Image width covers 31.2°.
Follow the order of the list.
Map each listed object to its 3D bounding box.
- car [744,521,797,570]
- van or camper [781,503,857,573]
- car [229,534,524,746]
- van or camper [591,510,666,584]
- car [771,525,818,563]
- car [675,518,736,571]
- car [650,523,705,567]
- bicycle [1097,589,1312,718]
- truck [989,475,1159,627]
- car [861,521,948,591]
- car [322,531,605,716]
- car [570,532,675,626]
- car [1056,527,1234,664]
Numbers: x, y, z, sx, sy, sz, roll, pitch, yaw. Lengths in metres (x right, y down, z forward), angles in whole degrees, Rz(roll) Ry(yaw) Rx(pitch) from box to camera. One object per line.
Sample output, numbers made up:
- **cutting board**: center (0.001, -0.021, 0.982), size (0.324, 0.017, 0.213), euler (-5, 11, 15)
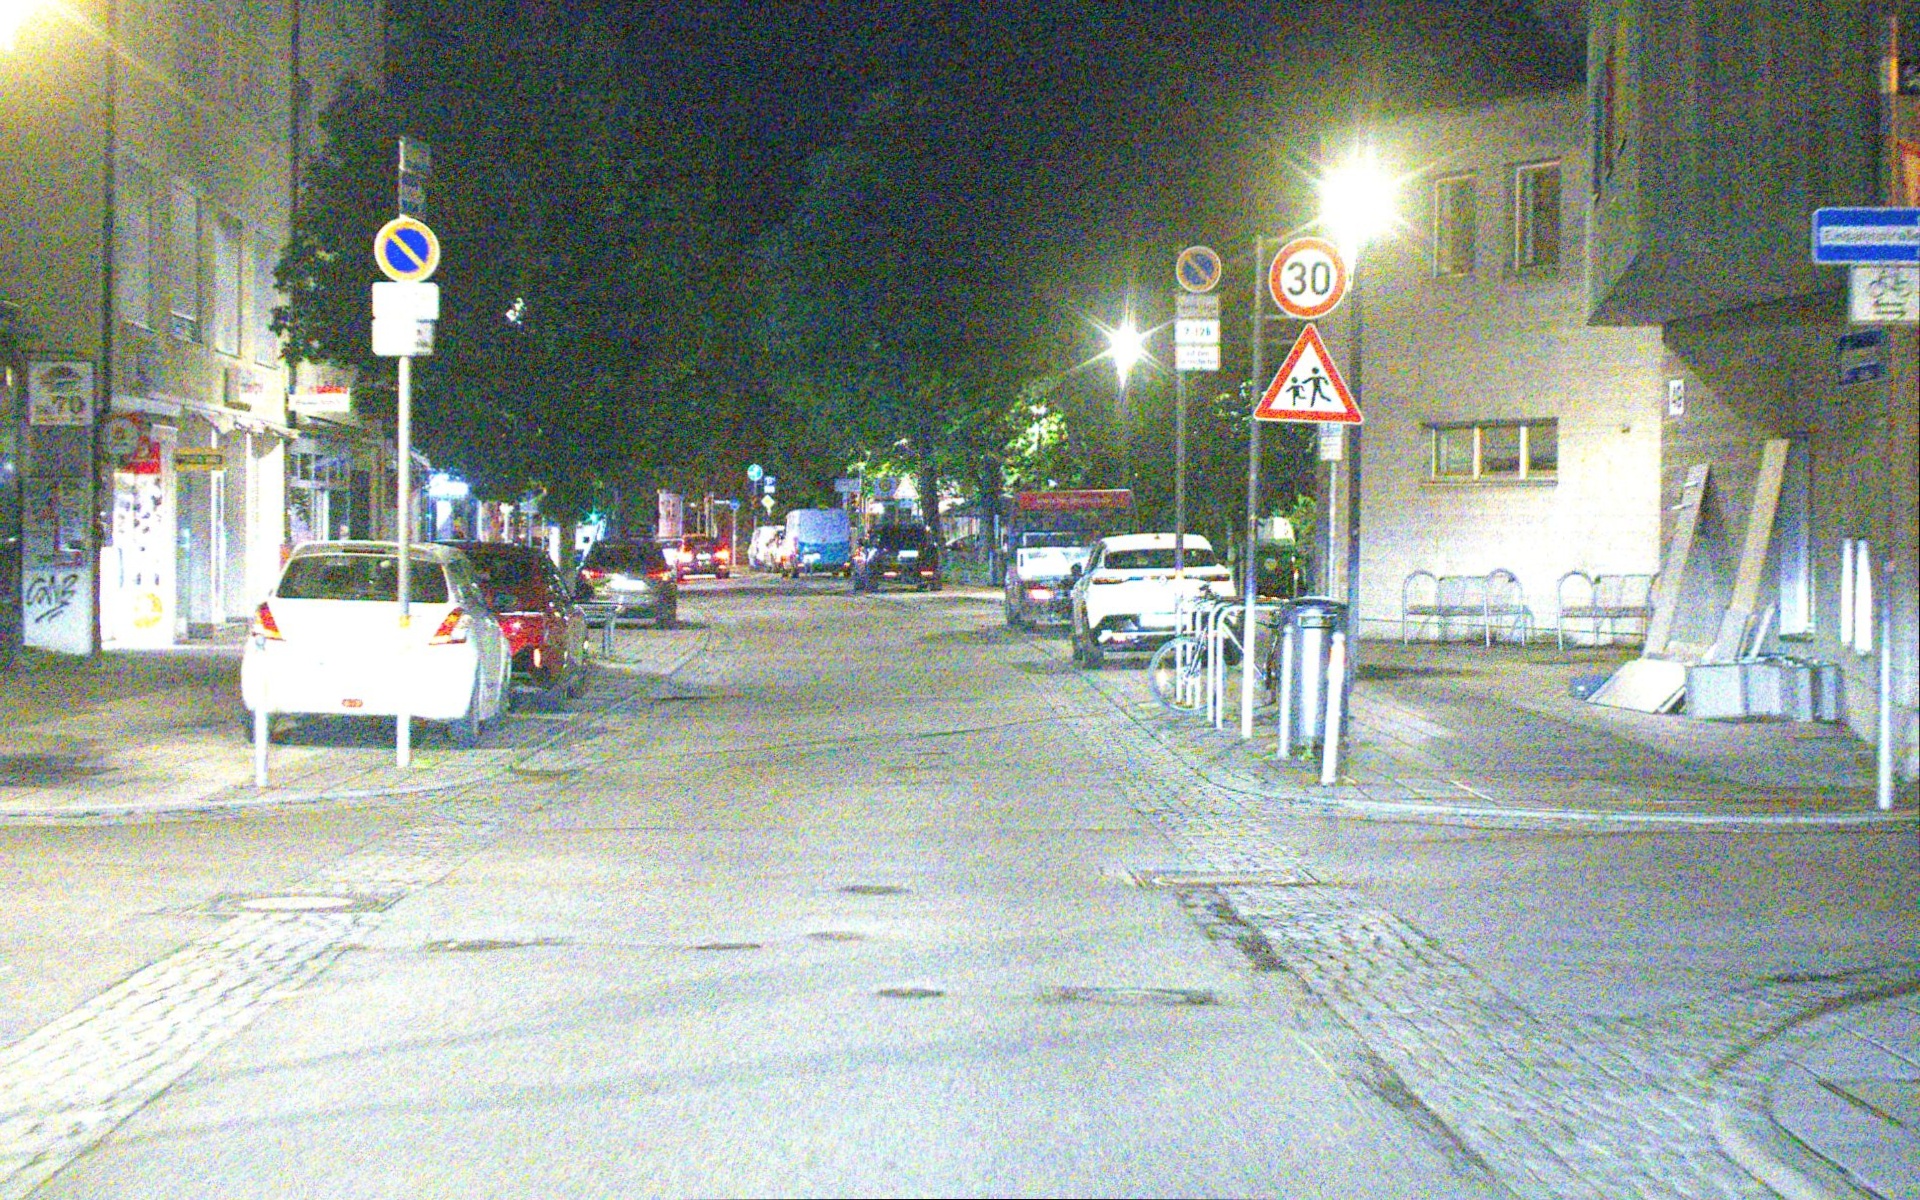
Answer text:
- **car**: center (-7.497, -2.157, 135.700), size (1.839, 1.894, 3.846), euler (0, 1, -7)
- **van or camper**: center (-4.826, -2.119, 116.852), size (2.108, 2.309, 4.263), euler (-1, 1, -8)
- **car**: center (-4.388, 0.254, 26.347), size (1.728, 1.472, 3.847), euler (1, 1, -2)
- **van or camper**: center (-9.415, -1.517, 97.526), size (1.866, 2.004, 4.263), euler (2, 1, -8)
- **car**: center (-6.266, -2.106, 129.859), size (1.531, 1.413, 3.846), euler (0, 1, -7)
- **car**: center (-8.918, -1.939, 120.281), size (1.993, 1.817, 4.001), euler (0, 1, -6)
- **car**: center (-11.037, -2.153, 134.106), size (1.993, 1.697, 4.001), euler (0, 1, -6)
- **bicycle**: center (2.037, 0.445, 28.695), size (1.754, 1.058, 0.346), euler (0, 1, -4)
- **truck**: center (1.767, -0.803, 55.529), size (2.336, 2.304, 5.781), euler (0, 1, -2)
- **car**: center (-1.505, -1.174, 90.979), size (1.814, 1.822, 4.348), euler (0, 1, -7)
- **car**: center (-4.518, 0.158, 32.002), size (2.019, 1.483, 5.008), euler (3, 1, -2)
- **car**: center (-5.899, -0.389, 59.805), size (1.673, 1.538, 4.231), euler (1, 1, -7)
- **car**: center (2.111, -0.088, 40.180), size (1.789, 1.486, 4.059), euler (-1, 1, -1)
